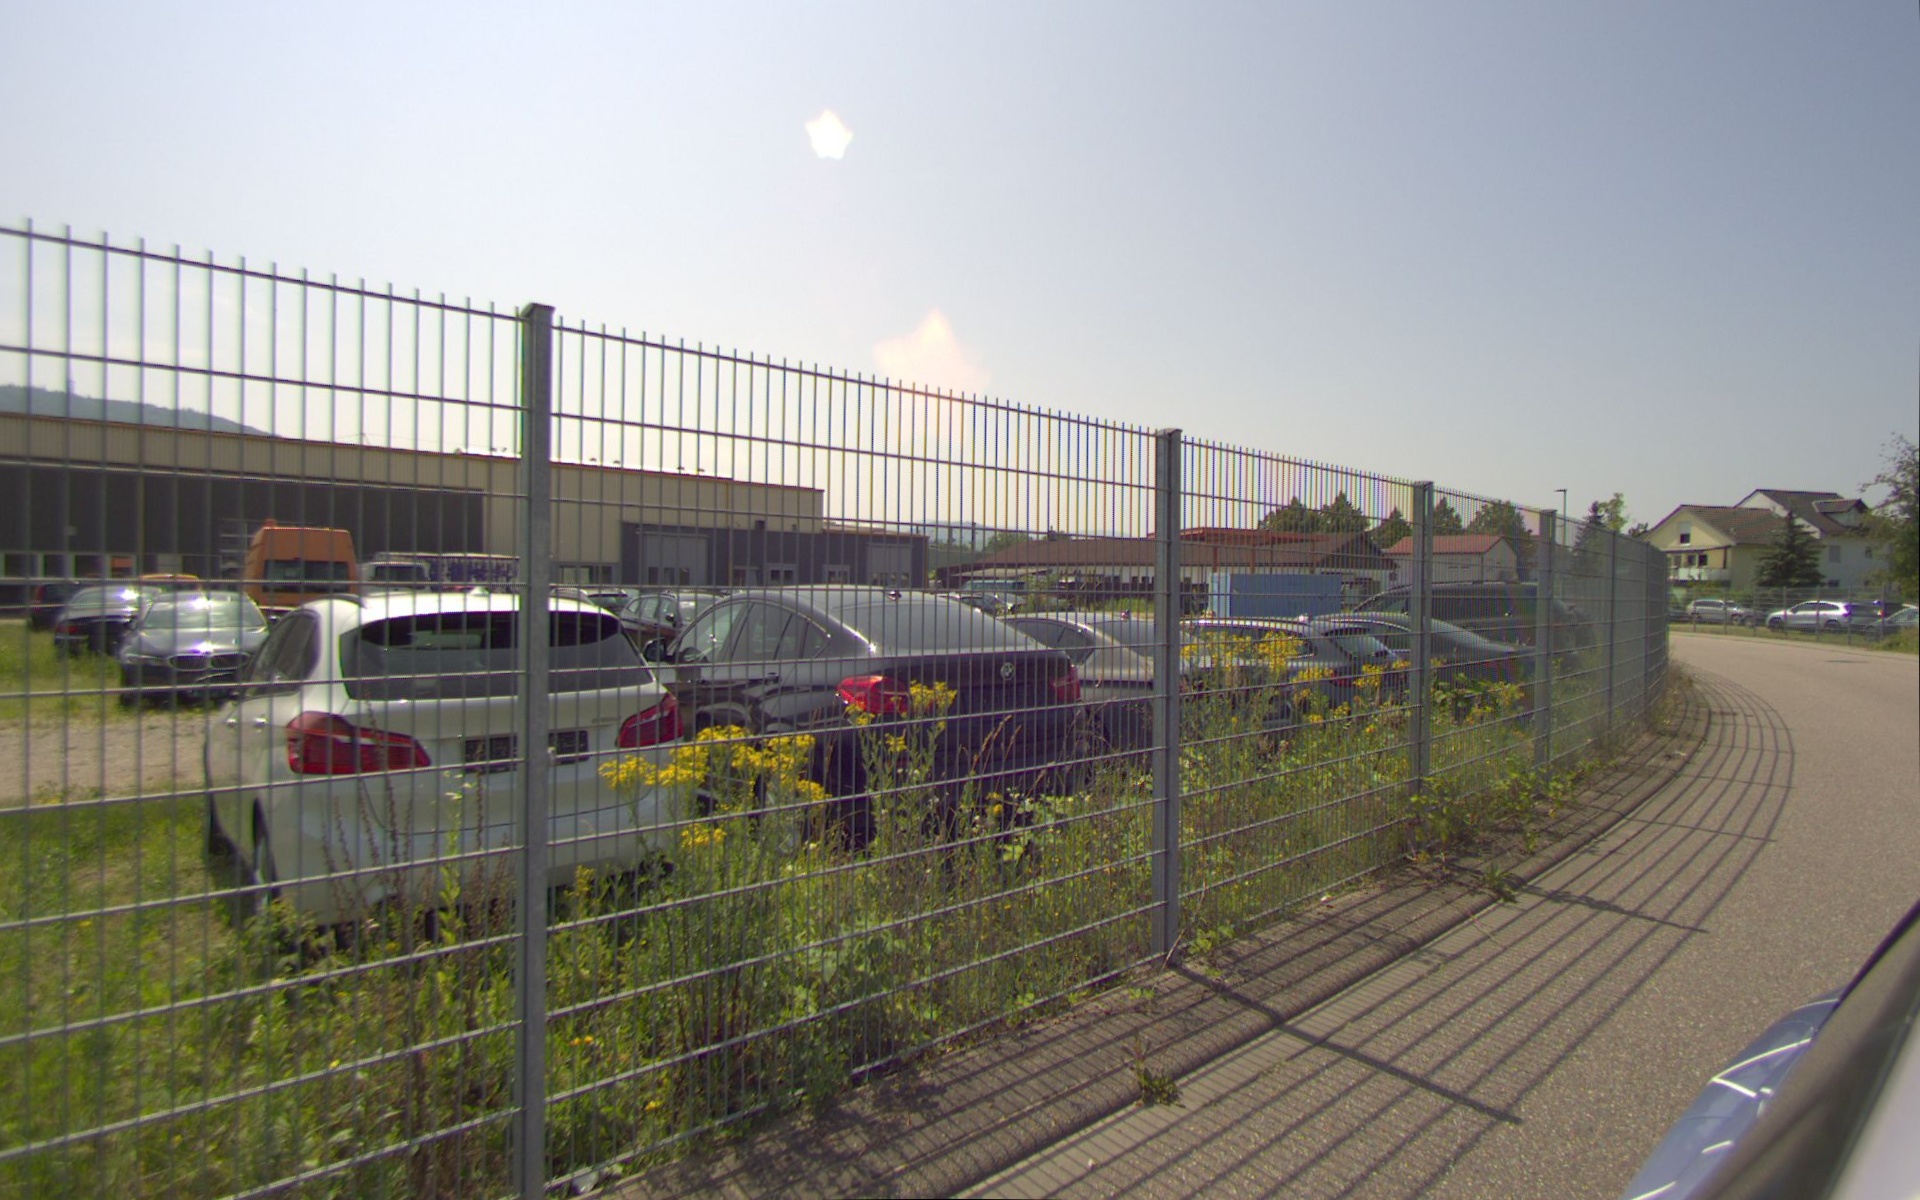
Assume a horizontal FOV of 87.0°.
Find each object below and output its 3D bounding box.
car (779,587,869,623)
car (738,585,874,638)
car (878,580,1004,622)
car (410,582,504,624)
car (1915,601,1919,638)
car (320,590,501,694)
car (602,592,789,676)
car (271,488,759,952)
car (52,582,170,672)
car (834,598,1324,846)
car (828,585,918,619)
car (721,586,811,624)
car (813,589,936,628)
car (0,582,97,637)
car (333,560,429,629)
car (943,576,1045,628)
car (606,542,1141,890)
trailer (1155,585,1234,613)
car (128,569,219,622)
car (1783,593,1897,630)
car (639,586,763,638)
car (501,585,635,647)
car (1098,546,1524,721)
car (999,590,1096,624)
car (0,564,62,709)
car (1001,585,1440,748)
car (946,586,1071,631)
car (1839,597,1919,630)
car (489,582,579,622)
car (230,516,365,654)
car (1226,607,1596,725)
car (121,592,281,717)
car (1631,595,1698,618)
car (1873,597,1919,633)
[{"bbox_3d":[-5.907,0.182,43.595,1.809,1.395,4.386,1,1,-39],"label":"car"},{"bbox_3d":[-4.424,0.281,28.589,1.845,1.291,4.386,1,1,-39],"label":"car"},{"bbox_3d":[-0.694,0.003,33.163,1.809,1.221,4.386,1,1,-39],"label":"car"},{"bbox_3d":[-17.967,0.061,36.076,1.939,1.339,4.383,0,1,-41],"label":"car"},{"bbox_3d":[35.409,0.744,34.797,1.557,1.351,4.391,1,1,10],"label":"car"},{"bbox_3d":[-9.124,0.575,16.589,1.788,1.369,4.756,1,1,-39],"label":"car"},{"bbox_3d":[-5.362,0.585,20.075,1.788,1.369,4.756,1,1,-39],"label":"car"},{"bbox_3d":[-2.852,0.388,5.856,1.691,1.690,4.134,1,1,-37],"label":"car"},{"bbox_3d":[-15.887,0.431,19.036,1.560,1.480,3.826,1,1,-39],"label":"car"},{"bbox_3d":[0.818,0.848,9.297,1.764,1.602,4.478,1,1,-40],"label":"car"},{"bbox_3d":[-3.898,0.063,44.797,1.809,1.395,4.386,1,1,-39],"label":"car"},{"bbox_3d":[-8.051,0.166,41.709,1.809,1.395,4.386,1,1,-39],"label":"car"},{"bbox_3d":[-2.699,0.231,31.117,1.589,1.046,4.386,1,1,-39],"label":"car"},{"bbox_3d":[-26.477,0.215,29.504,1.965,1.482,3.995,0,1,-40],"label":"car"},{"bbox_3d":[-19.622,-0.233,34.213,1.939,2.199,4.383,1,1,-41],"label":"car"},{"bbox_3d":[1.355,0.055,42.292,1.809,2.006,4.386,1,1,-39],"label":"car"},{"bbox_3d":[-0.959,0.508,7.230,1.691,1.690,4.482,1,1,-37],"label":"car"},{"bbox_3d":[14.655,-0.049,63.305,4.522,1.586,1.772,1,-1,-12],"label":"trailer"},{"bbox_3d":[-24.378,-0.167,31.315,1.939,1.504,4.383,0,1,-41],"label":"car"},{"bbox_3d":[39.348,0.485,45.359,1.549,1.508,3.653,1,1,-10],"label":"car"},{"bbox_3d":[-7.021,0.282,27.154,1.548,1.198,4.386,1,1,-39],"label":"car"},{"bbox_3d":[-9.569,0.325,24.498,1.788,1.285,4.386,1,1,-39],"label":"car"},{"bbox_3d":[4.182,0.279,12.513,4.675,1.791,1.719,2,1,38],"label":"car"},{"bbox_3d":[3.137,0.240,36.866,1.641,1.122,3.372,1,1,-39],"label":"car"},{"bbox_3d":[-13.654,0.401,13.676,1.963,1.739,3.999,0,2,-37],"label":"car"},{"bbox_3d":[2.739,0.582,11.296,4.463,1.399,1.698,2,1,40],"label":"car"},{"bbox_3d":[1.575,0.238,34.576,1.809,1.362,4.386,1,1,-39],"label":"car"},{"bbox_3d":[47.779,0.679,51.657,1.959,1.517,4.007,1,1,-10],"label":"car"},{"bbox_3d":[-16.689,0.037,39.537,1.939,1.403,4.383,0,1,-41],"label":"car"},{"bbox_3d":[-14.247,-0.338,21.628,1.945,2.617,4.742,1,1,-39],"label":"car"},{"bbox_3d":[6.173,0.824,14.259,4.465,1.399,1.695,-1,-1,45],"label":"car"},{"bbox_3d":[-11.135,0.660,14.783,1.632,1.450,4.572,1,1,-39],"label":"car"},{"bbox_3d":[49.775,0.448,71.598,1.783,1.482,3.690,0,1,-9],"label":"car"},{"bbox_3d":[40.112,0.627,41.668,1.549,1.437,3.468,1,1,-10],"label":"car"}]
